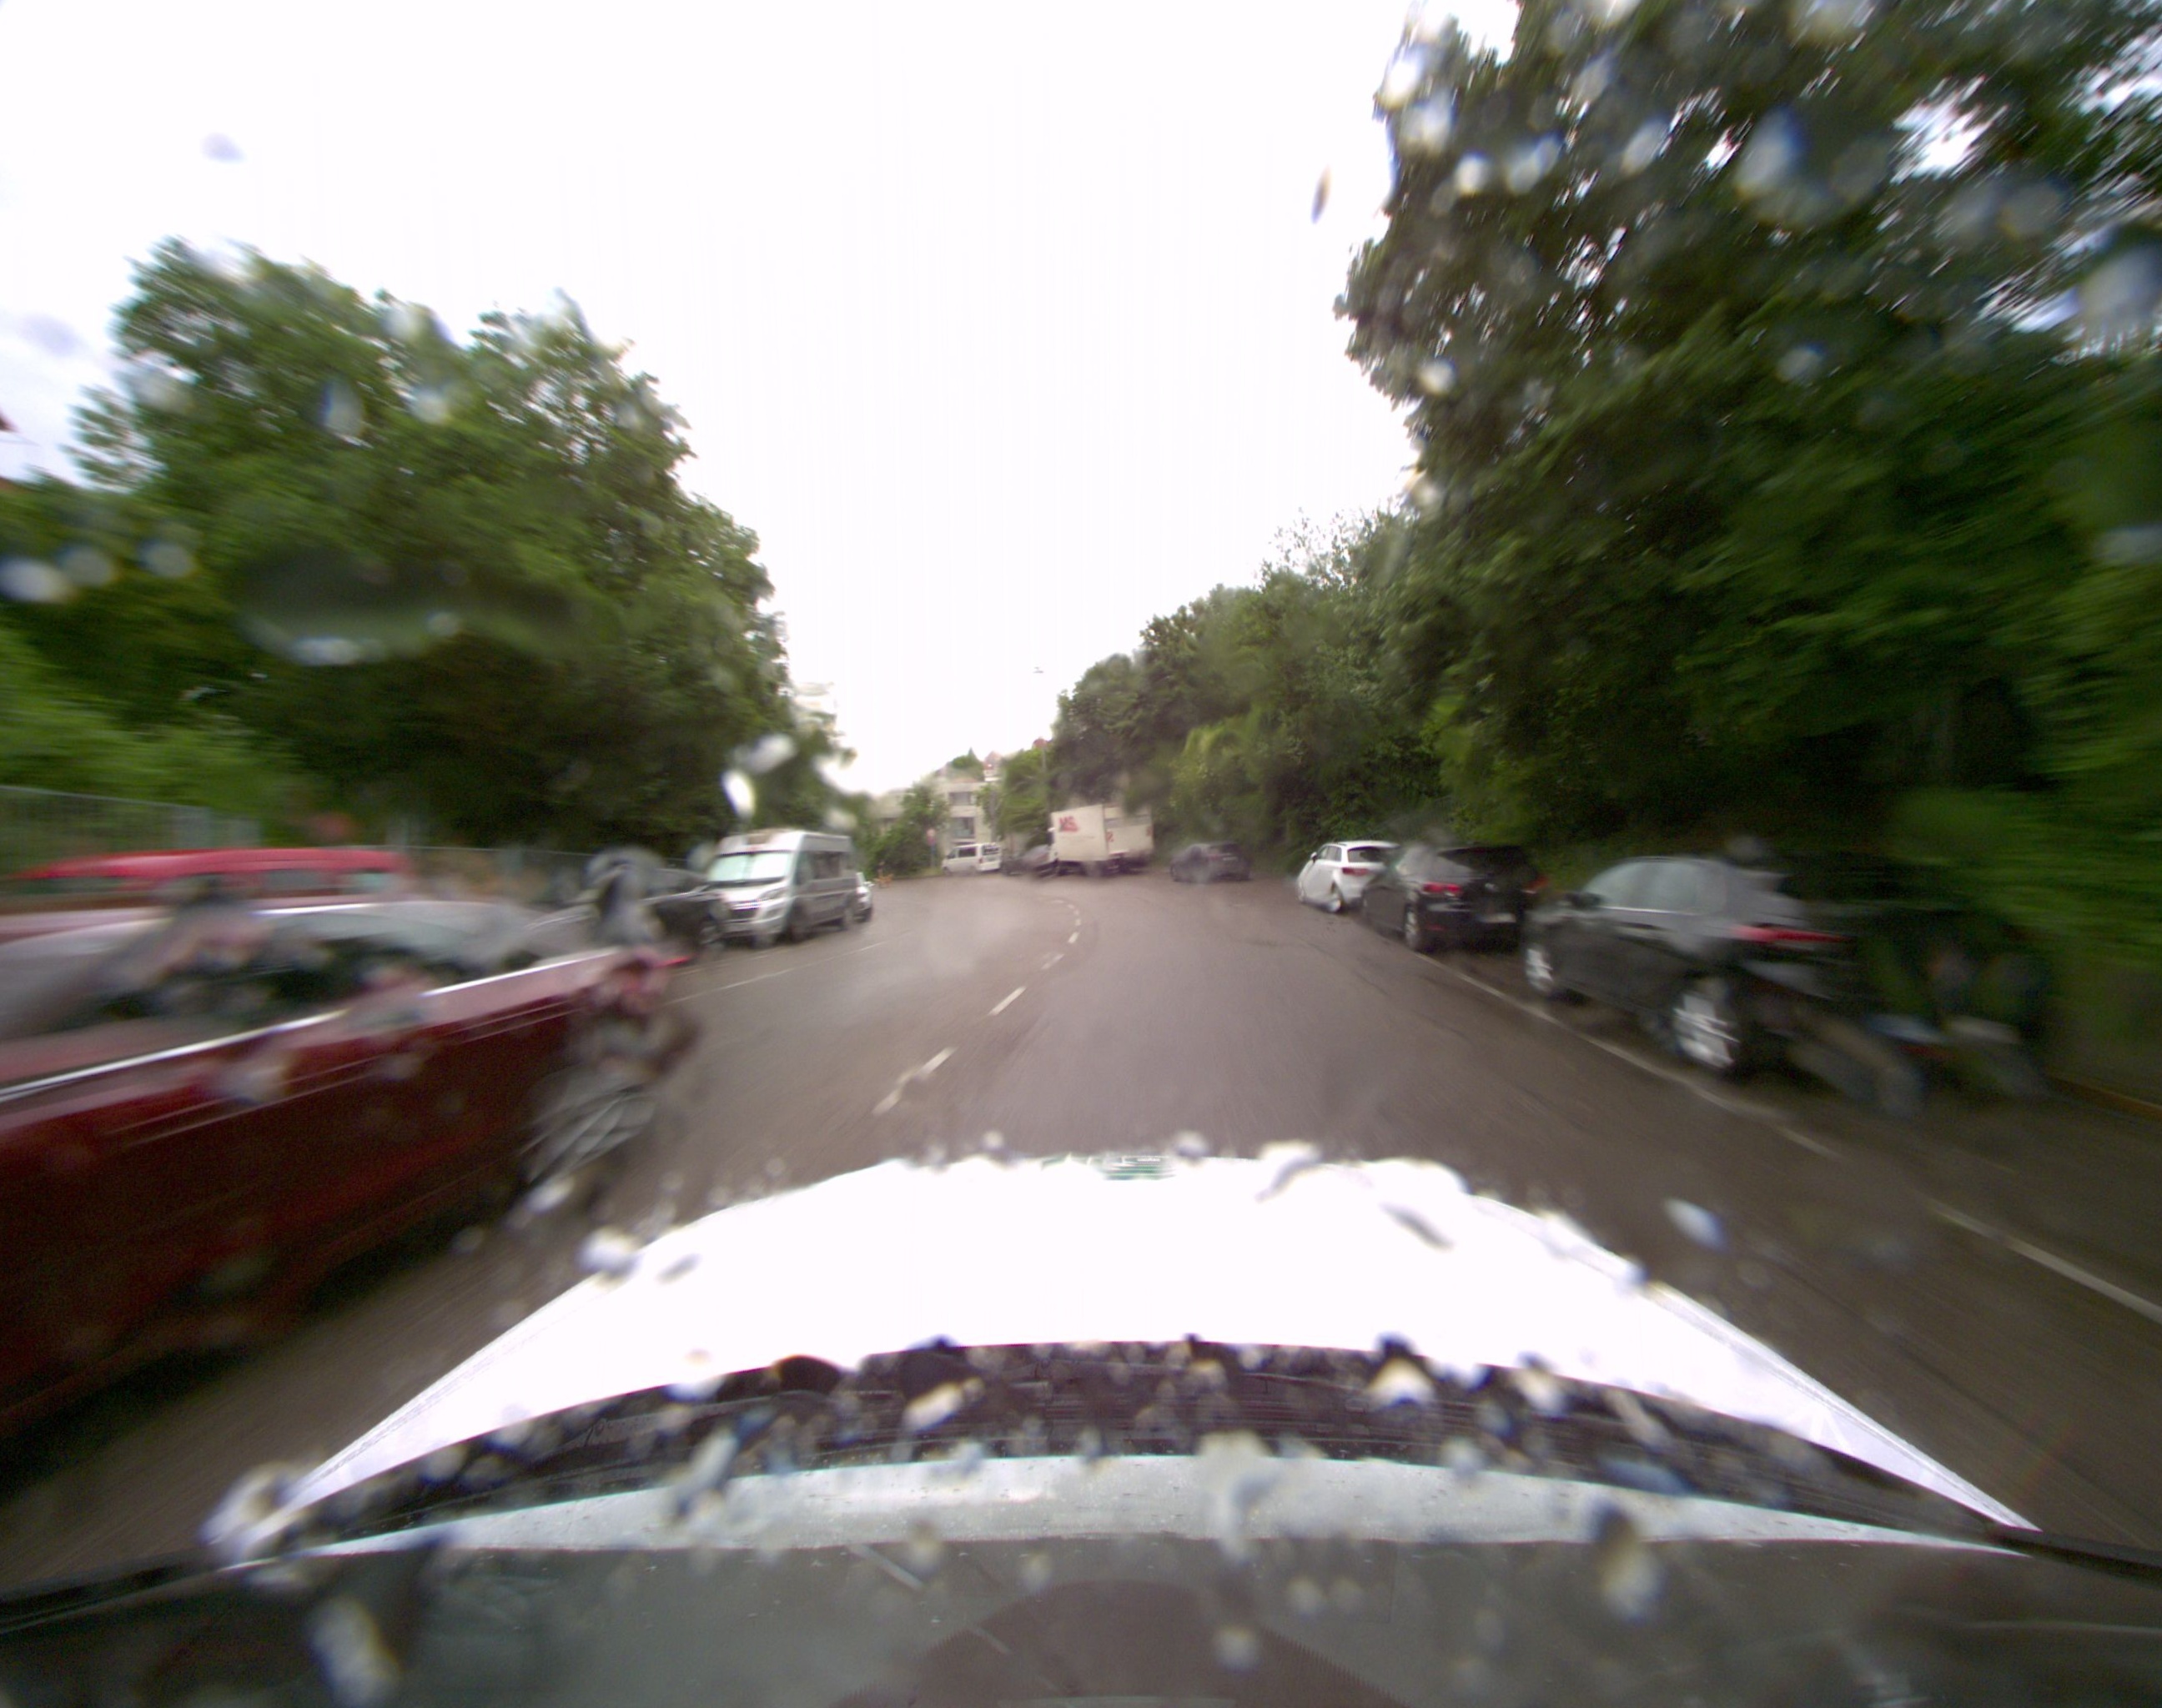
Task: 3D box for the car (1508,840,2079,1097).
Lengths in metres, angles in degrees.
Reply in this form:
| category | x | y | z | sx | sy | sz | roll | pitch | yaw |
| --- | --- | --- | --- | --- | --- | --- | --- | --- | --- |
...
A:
| category | x | y | z | sx | sy | sz | roll | pitch | yaw |
| --- | --- | --- | --- | --- | --- | --- | --- | --- | --- |
| car | 4.942 | 0.601 | 6.452 | 1.581 | 1.389 | 3.831 | 0 | 1 | 8 |

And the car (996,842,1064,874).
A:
| category | x | y | z | sx | sy | sz | roll | pitch | yaw |
| --- | --- | --- | --- | --- | --- | --- | --- | --- | --- |
| car | -3.027 | 0.247 | 47.453 | 1.733 | 1.555 | 4.228 | -8 | 3 | -37 |

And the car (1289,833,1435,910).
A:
| category | x | y | z | sx | sy | sz | roll | pitch | yaw |
| --- | --- | --- | --- | --- | --- | --- | --- | --- | --- |
| car | 5.897 | 0.294 | 17.634 | 1.749 | 1.400 | 4.097 | -3 | 1 | 1 |

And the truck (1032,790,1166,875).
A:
| category | x | y | z | sx | sy | sz | roll | pitch | yaw |
| --- | --- | --- | --- | --- | --- | --- | --- | --- | --- |
| truck | 0.656 | -0.925 | 41.170 | 3.023 | 3.573 | 8.266 | -7 | 2 | -25 |

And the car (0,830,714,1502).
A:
| category | x | y | z | sx | sy | sz | roll | pitch | yaw |
| --- | --- | --- | --- | --- | --- | --- | --- | --- | --- |
| car | -3.333 | 0.770 | 2.665 | 1.858 | 1.516 | 4.489 | -3 | -1 | 5 |

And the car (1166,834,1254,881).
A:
| category | x | y | z | sx | sy | sz | roll | pitch | yaw |
| --- | --- | --- | --- | --- | --- | --- | --- | --- | --- |
| car | 4.681 | 0.106 | 30.187 | 1.723 | 1.444 | 4.106 | -5 | 1 | -13 |

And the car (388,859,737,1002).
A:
| category | x | y | z | sx | sy | sz | roll | pitch | yaw |
| --- | --- | --- | --- | --- | --- | --- | --- | --- | --- |
| car | -7.377 | 0.977 | 12.287 | 1.982 | 1.619 | 4.407 | -2 | 1 | 8 |

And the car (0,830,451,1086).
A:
| category | x | y | z | sx | sy | sz | roll | pitch | yaw |
| --- | --- | --- | --- | --- | --- | --- | --- | --- | --- |
| car | -8.175 | 0.777 | 7.152 | 1.741 | 1.768 | 4.143 | -3 | -1 | 6 |

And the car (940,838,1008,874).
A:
| category | x | y | z | sx | sy | sz | roll | pitch | yaw |
| --- | --- | --- | --- | --- | --- | --- | --- | --- | --- |
| car | -6.925 | 0.125 | 52.389 | 1.894 | 2.013 | 4.633 | -4 | 0 | -43 |

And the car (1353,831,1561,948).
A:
| category | x | y | z | sx | sy | sz | roll | pitch | yaw |
| --- | --- | --- | --- | --- | --- | --- | --- | --- | --- |
| car | 5.435 | 0.406 | 12.330 | 1.651 | 1.424 | 3.976 | -2 | 2 | 6 |

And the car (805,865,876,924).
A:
| category | x | y | z | sx | sy | sz | roll | pitch | yaw |
| --- | --- | --- | --- | --- | --- | --- | --- | --- | --- |
| car | -7.654 | 1.265 | 26.233 | 1.806 | 1.582 | 4.006 | -5 | -1 | -13 |

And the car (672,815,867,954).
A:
| category | x | y | z | sx | sy | sz | roll | pitch | yaw |
| --- | --- | --- | --- | --- | --- | --- | --- | --- | --- |
| car | -6.920 | 0.580 | 19.084 | 2.068 | 2.549 | 6.343 | -5 | 0 | -2 |

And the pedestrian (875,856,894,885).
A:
| category | x | y | z | sx | sy | sz | roll | pitch | yaw |
| --- | --- | --- | --- | --- | --- | --- | --- | --- | --- |
| pedestrian | -12.173 | 1.016 | 50.576 | 0.923 | 1.661 | 0.802 | -7 | 3 | -12 |
